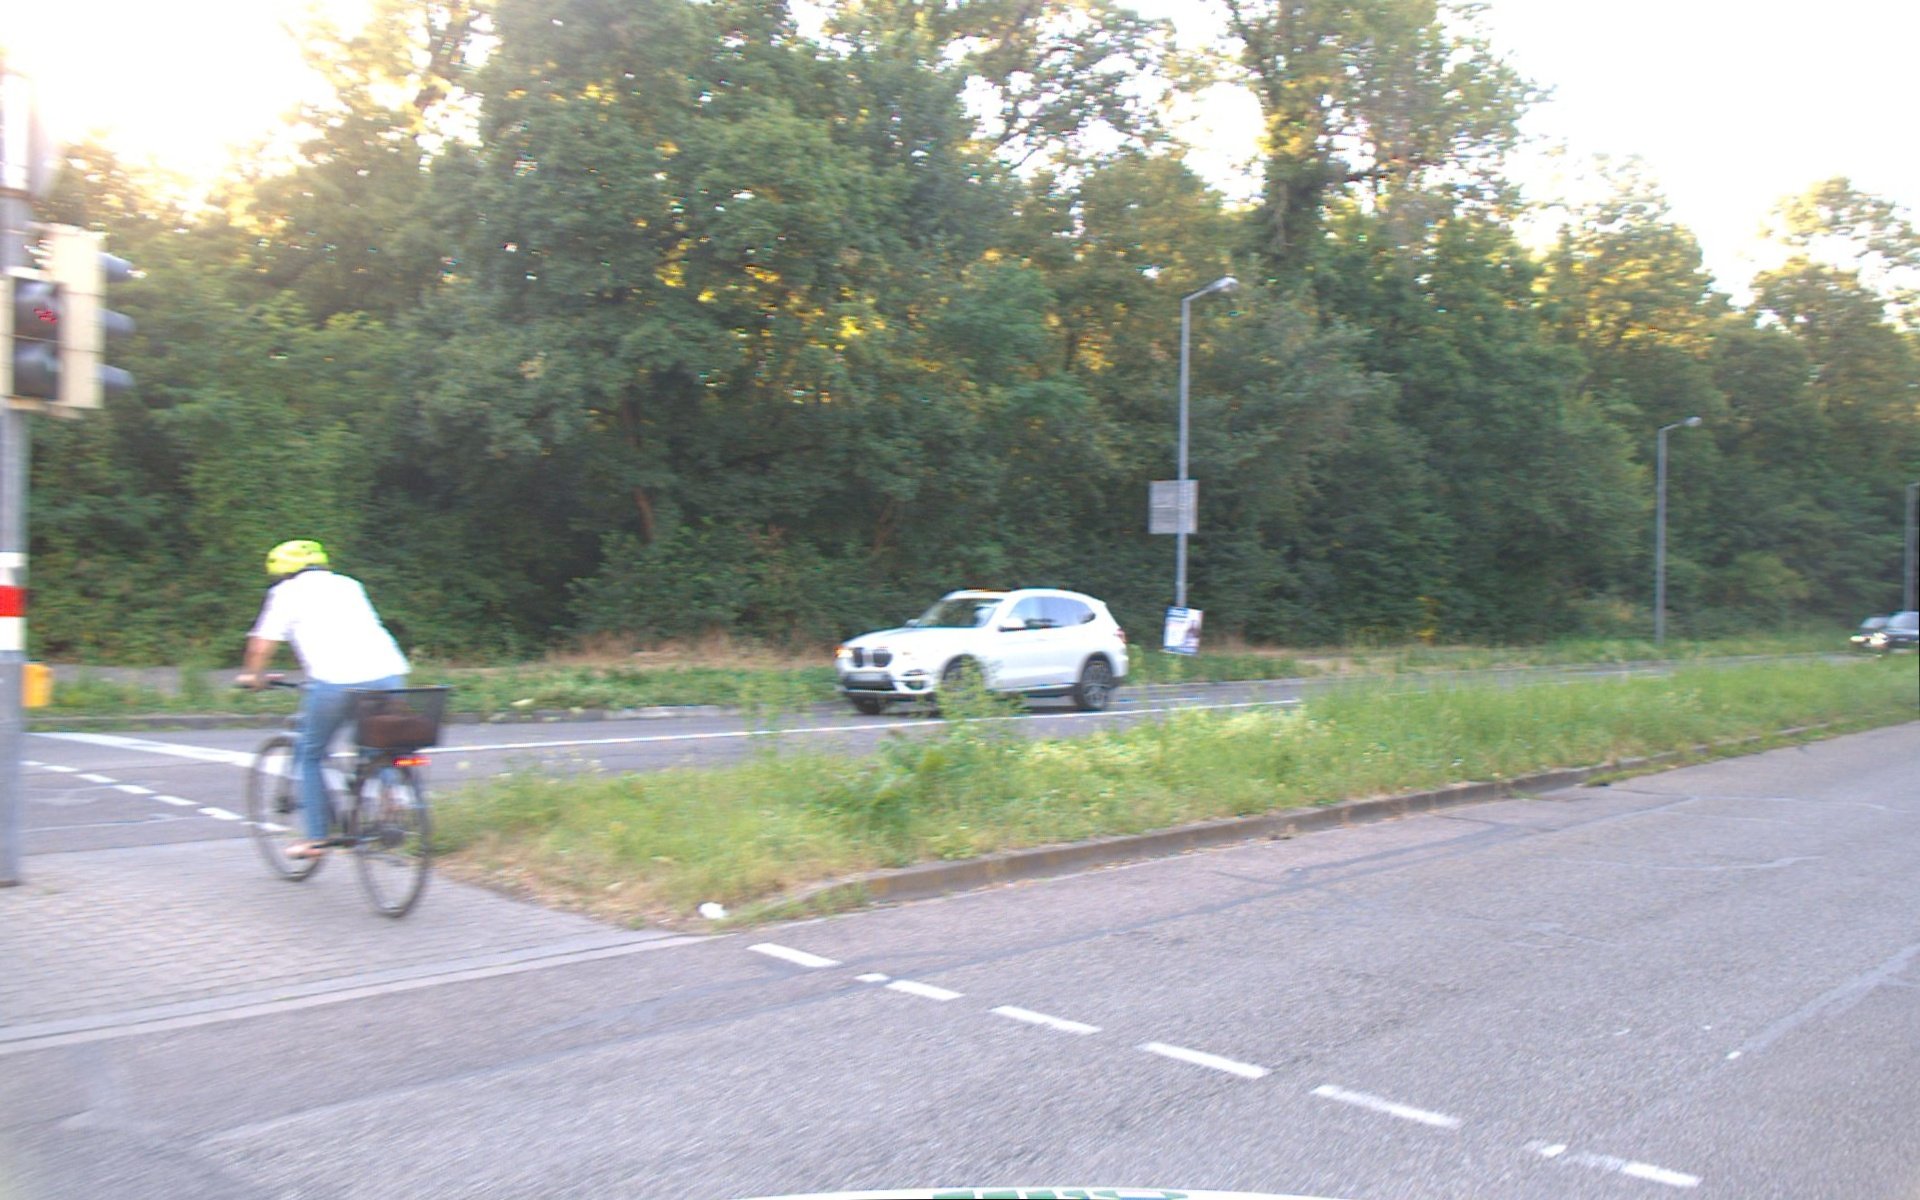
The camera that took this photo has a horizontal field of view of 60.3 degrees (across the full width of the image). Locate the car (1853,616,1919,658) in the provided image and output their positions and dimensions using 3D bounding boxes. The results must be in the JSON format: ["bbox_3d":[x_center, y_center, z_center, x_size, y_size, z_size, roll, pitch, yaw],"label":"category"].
[{"bbox_3d":[34.572,1.354,61.203,1.796,1.506,4.208,-1,-1,41],"label":"car"}]

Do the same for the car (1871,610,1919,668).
[{"bbox_3d":[28.755,1.154,49.407,1.787,1.656,4.425,-1,-1,41],"label":"car"}]

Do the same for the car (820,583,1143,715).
[{"bbox_3d":[0.396,0.656,22.790,1.797,1.642,4.608,-2,-2,44],"label":"car"}]

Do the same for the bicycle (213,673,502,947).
[{"bbox_3d":[-2.821,0.900,7.639,0.561,1.032,1.772,1,0,-45],"label":"bicycle"}]

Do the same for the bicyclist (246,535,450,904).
[{"bbox_3d":[-2.844,0.513,7.670,0.884,1.597,0.552,1,0,45],"label":"bicyclist"}]
